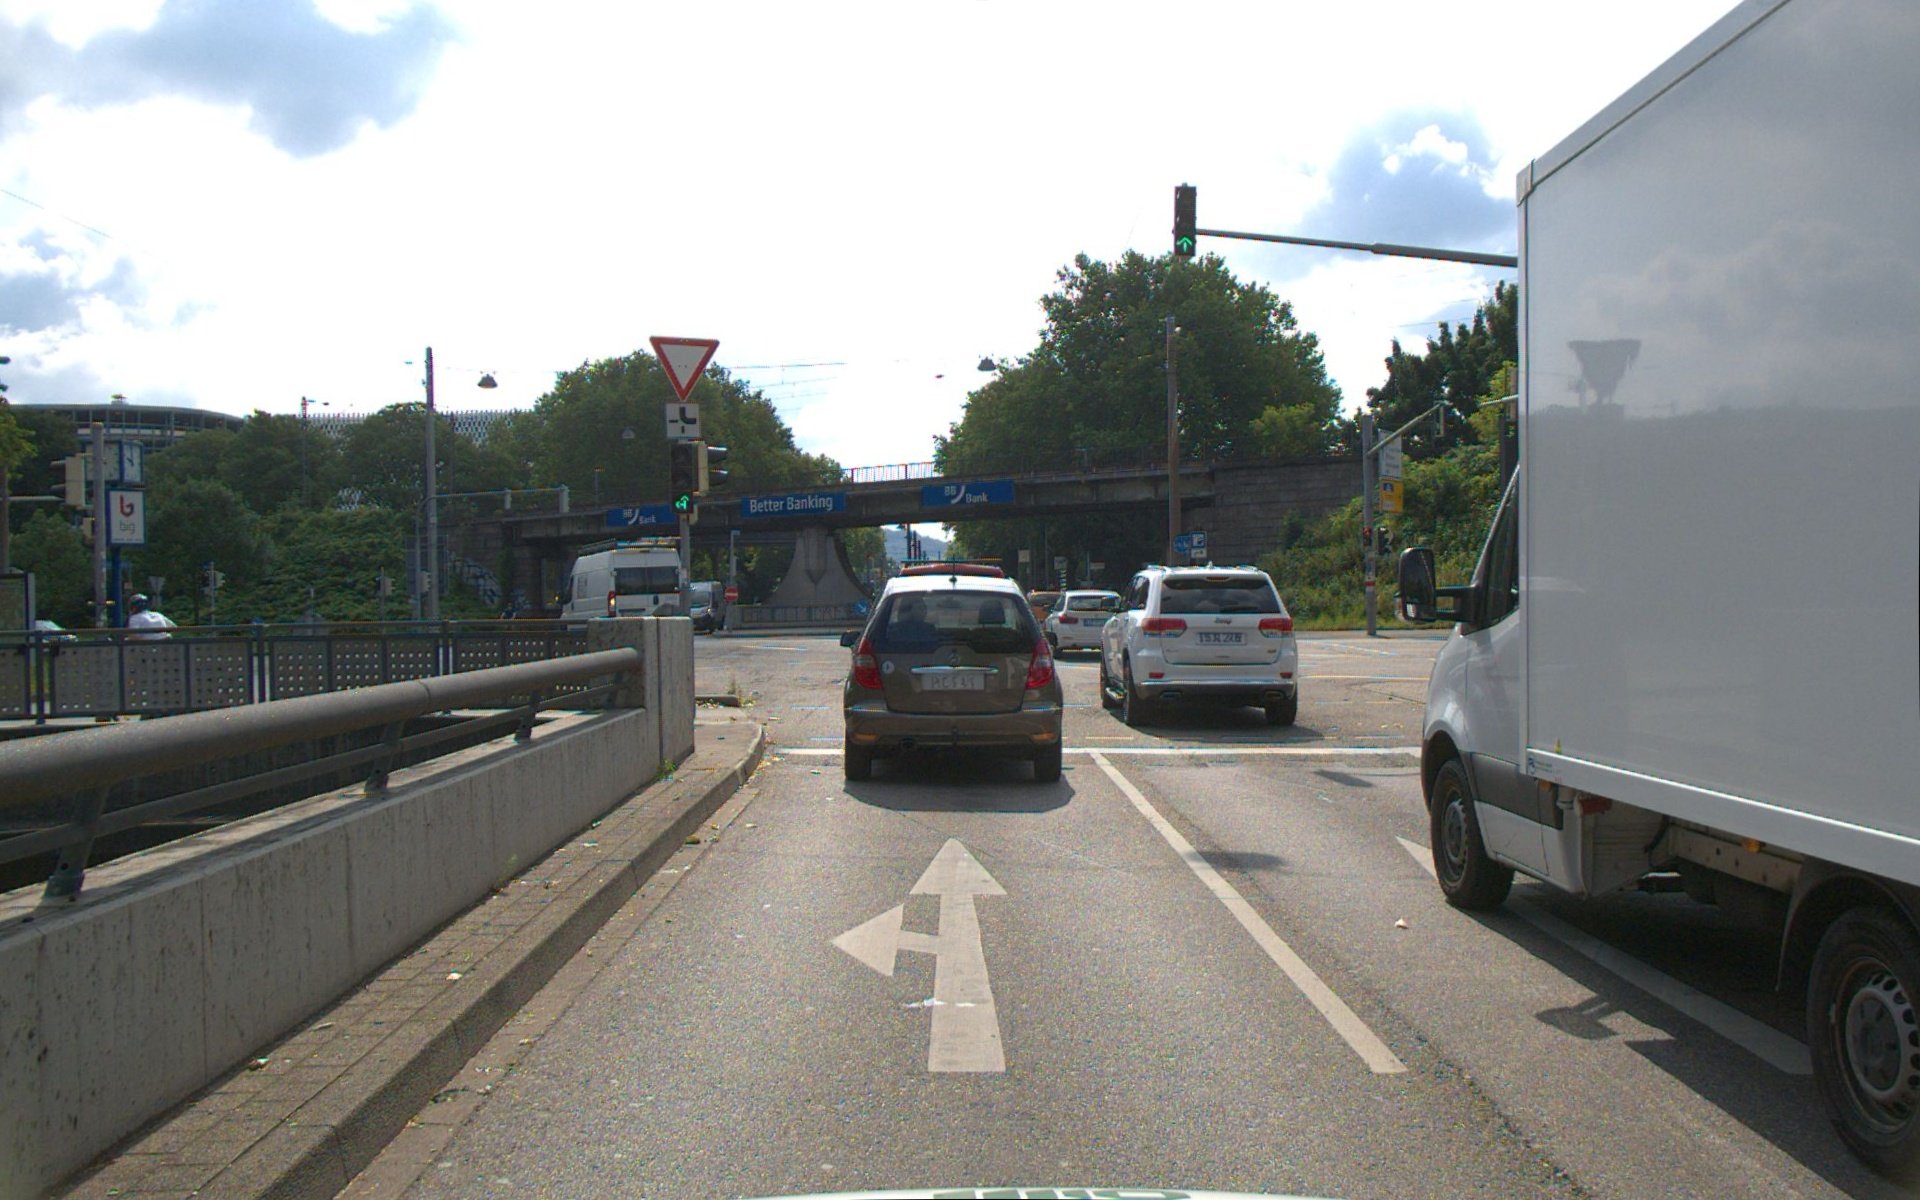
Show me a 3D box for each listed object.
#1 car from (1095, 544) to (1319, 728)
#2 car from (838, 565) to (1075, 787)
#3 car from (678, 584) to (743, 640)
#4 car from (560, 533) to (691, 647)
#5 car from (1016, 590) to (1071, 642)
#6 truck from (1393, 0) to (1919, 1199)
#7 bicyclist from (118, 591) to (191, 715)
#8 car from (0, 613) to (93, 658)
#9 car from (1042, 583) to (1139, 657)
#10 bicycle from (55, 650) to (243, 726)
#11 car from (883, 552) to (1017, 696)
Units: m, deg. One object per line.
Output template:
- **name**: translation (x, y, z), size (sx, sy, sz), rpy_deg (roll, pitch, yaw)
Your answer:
- **car**: translation (2.774, 0.365, 19.607), size (1.954, 1.934, 4.508), rpy_deg (0, 0, -1)
- **car**: translation (-0.037, 0.553, 14.153), size (1.755, 1.636, 3.798), rpy_deg (0, 0, -1)
- **car**: translation (-12.086, 0.564, 80.434), size (2.211, 2.570, 5.627), rpy_deg (-1, 0, 1)
- **car**: translation (-8.774, -0.197, 43.055), size (2.171, 2.774, 4.889), rpy_deg (1, -1, -26)
- **car**: translation (2.568, 0.506, 51.516), size (1.512, 1.548, 3.616), rpy_deg (0, -1, 0)
- **truck**: translation (3.368, -0.143, 5.426), size (2.396, 3.176, 6.028), rpy_deg (0, 0, 1)
- **bicyclist**: translation (-9.529, 0.615, 19.576), size (0.499, 1.429, 0.626), rpy_deg (-1, 0, 4)
- **car**: translation (-37.147, 1.459, 67.181), size (4.274, 1.615, 1.707), rpy_deg (-4, -3, 36)
- **car**: translation (2.824, 0.441, 36.444), size (1.814, 1.548, 3.616), rpy_deg (0, -1, -1)
- **bicycle**: translation (-9.582, 1.036, 19.578), size (1.931, 0.841, 0.612), rpy_deg (-1, 0, 2)
- **car**: translation (-0.163, 0.329, 25.947), size (1.915, 2.052, 4.676), rpy_deg (0, 0, -1)
